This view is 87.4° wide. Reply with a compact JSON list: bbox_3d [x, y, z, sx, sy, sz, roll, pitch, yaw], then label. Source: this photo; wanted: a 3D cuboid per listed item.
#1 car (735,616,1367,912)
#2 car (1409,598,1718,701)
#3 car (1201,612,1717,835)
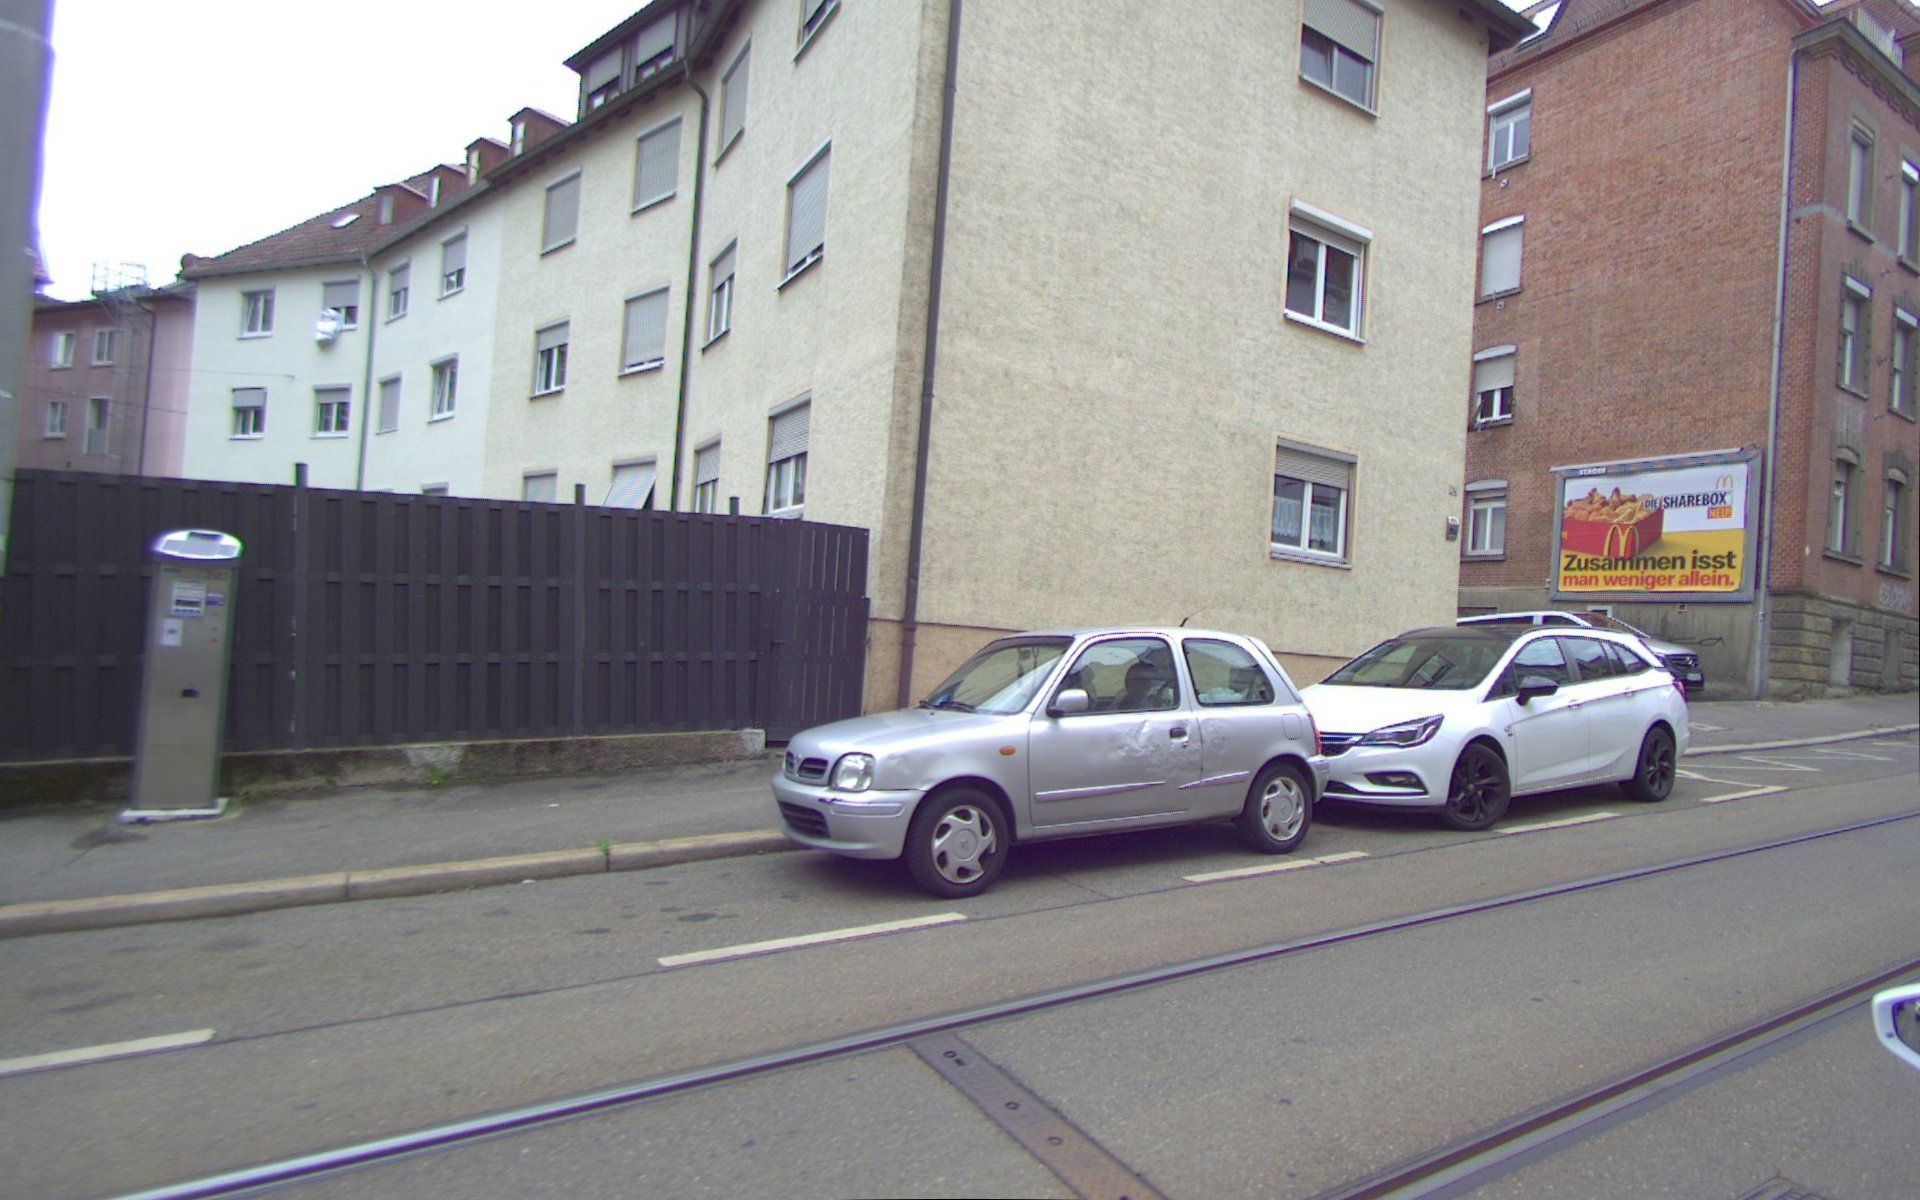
[{"bbox_3d":[0.640,0.844,6.365,3.761,1.386,1.594,1,-3,-29],"label":"car"},{"bbox_3d":[12.188,0.977,20.704,1.920,1.842,5.144,1,-2,-33],"label":"car"},{"bbox_3d":[4.354,0.891,8.545,4.577,1.447,1.818,1,-3,-32],"label":"car"}]
